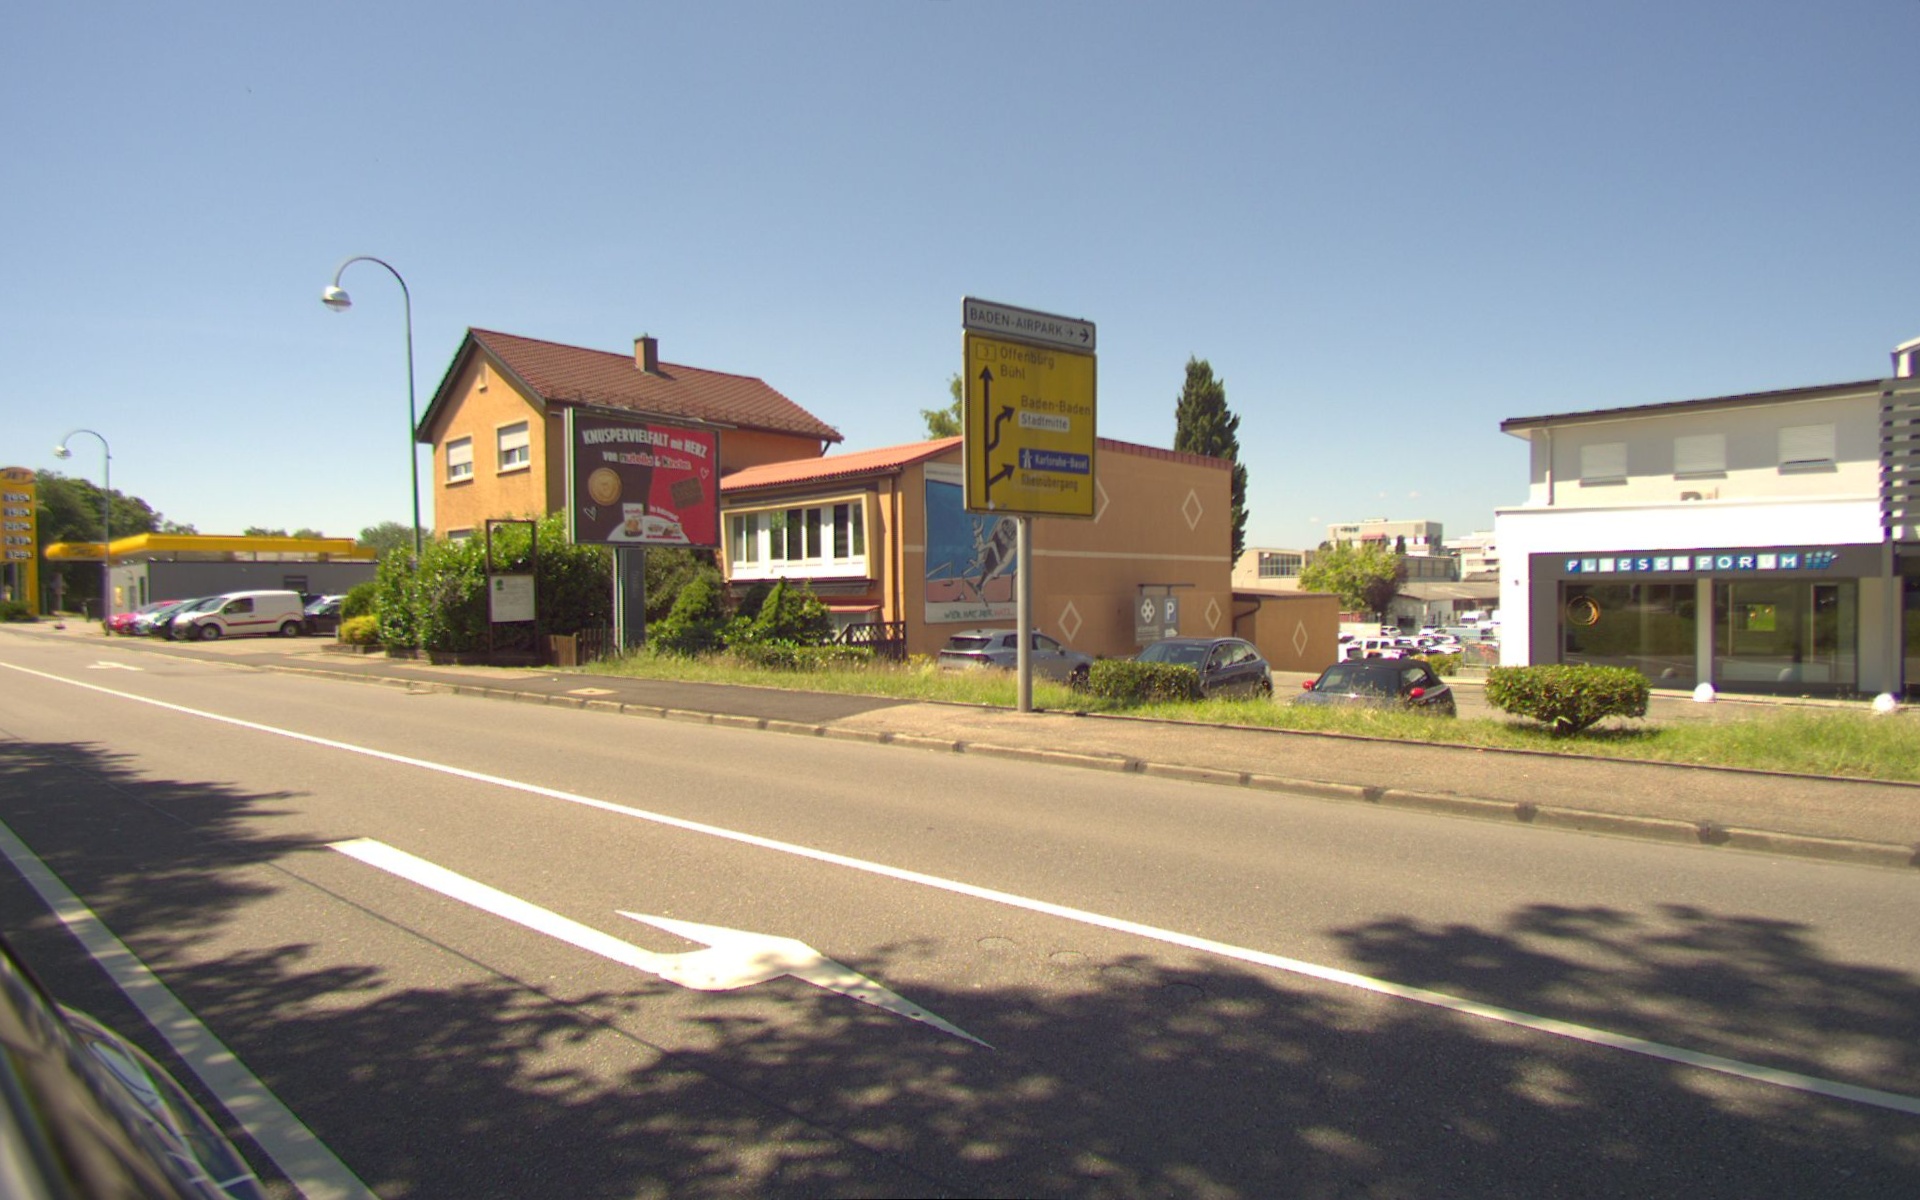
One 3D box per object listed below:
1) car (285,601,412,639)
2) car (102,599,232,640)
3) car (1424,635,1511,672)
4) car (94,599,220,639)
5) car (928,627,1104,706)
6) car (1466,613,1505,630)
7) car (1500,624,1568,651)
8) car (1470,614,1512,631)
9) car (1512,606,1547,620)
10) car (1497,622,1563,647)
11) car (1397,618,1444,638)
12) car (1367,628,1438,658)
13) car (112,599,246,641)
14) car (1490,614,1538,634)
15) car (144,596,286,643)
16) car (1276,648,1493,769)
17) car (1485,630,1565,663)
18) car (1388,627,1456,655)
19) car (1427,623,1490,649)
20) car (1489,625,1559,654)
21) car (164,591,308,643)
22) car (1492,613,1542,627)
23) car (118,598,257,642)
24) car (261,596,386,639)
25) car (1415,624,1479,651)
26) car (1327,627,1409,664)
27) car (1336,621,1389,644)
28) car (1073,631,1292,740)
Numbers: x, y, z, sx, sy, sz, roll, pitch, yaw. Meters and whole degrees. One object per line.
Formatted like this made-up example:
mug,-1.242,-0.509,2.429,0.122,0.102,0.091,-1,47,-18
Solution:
car,-26.388,0.822,43.797,1.871,1.575,4.351,0,0,35
car,-36.170,0.869,46.263,1.871,1.773,4.351,0,0,35
car,26.419,2.767,52.745,3.774,1.768,1.707,0,-1,44
car,-37.990,0.873,48.004,1.871,1.773,4.351,0,0,35
car,1.383,1.496,23.919,4.165,1.621,1.773,0,-1,-42
car,61.301,2.454,118.095,3.774,1.768,1.707,2,3,43
car,39.597,2.584,69.883,3.774,1.768,1.707,0,-1,44
car,58.618,2.465,111.691,3.774,1.768,1.707,0,-1,44
car,76.658,1.753,136.169,3.774,1.768,1.707,0,-1,44
car,42.589,2.526,75.654,4.055,1.768,1.707,0,-1,44
car,44.488,2.661,97.743,3.774,1.768,1.707,0,1,44
car,28.056,2.691,64.267,3.774,1.768,1.707,0,-1,44
car,-34.540,0.841,44.874,1.871,1.773,4.351,0,0,35
car,52.846,2.306,96.552,3.774,1.768,1.707,0,-4,44
car,-29.528,0.755,40.238,1.871,1.773,4.198,0,0,35
car,6.916,1.623,16.311,4.039,1.544,1.772,0,-1,-44
car,33.076,2.683,59.308,3.774,1.768,1.707,0,-1,44
car,30.866,2.725,67.650,3.774,1.768,1.707,0,-1,44
car,36.100,2.589,73.331,3.774,1.768,1.707,0,-1,44
car,37.678,2.605,67.675,3.774,1.768,1.707,0,-1,44
car,-27.792,0.631,38.954,1.871,1.883,4.143,0,-1,35
car,71.524,2.538,129.975,5.303,1.768,2.036,0,-1,44
car,-32.895,0.827,43.209,1.871,1.773,4.351,0,0,35
car,-28.252,0.752,45.052,1.871,1.839,4.351,0,-1,35
car,34.159,2.611,71.032,3.774,1.768,1.707,0,-1,44
car,23.774,2.620,59.023,4.001,2.029,1.971,0,-1,44
car,33.733,2.695,84.883,3.774,1.768,1.707,0,-1,44
car,4.203,1.460,18.649,4.462,1.654,1.772,0,-1,-44
